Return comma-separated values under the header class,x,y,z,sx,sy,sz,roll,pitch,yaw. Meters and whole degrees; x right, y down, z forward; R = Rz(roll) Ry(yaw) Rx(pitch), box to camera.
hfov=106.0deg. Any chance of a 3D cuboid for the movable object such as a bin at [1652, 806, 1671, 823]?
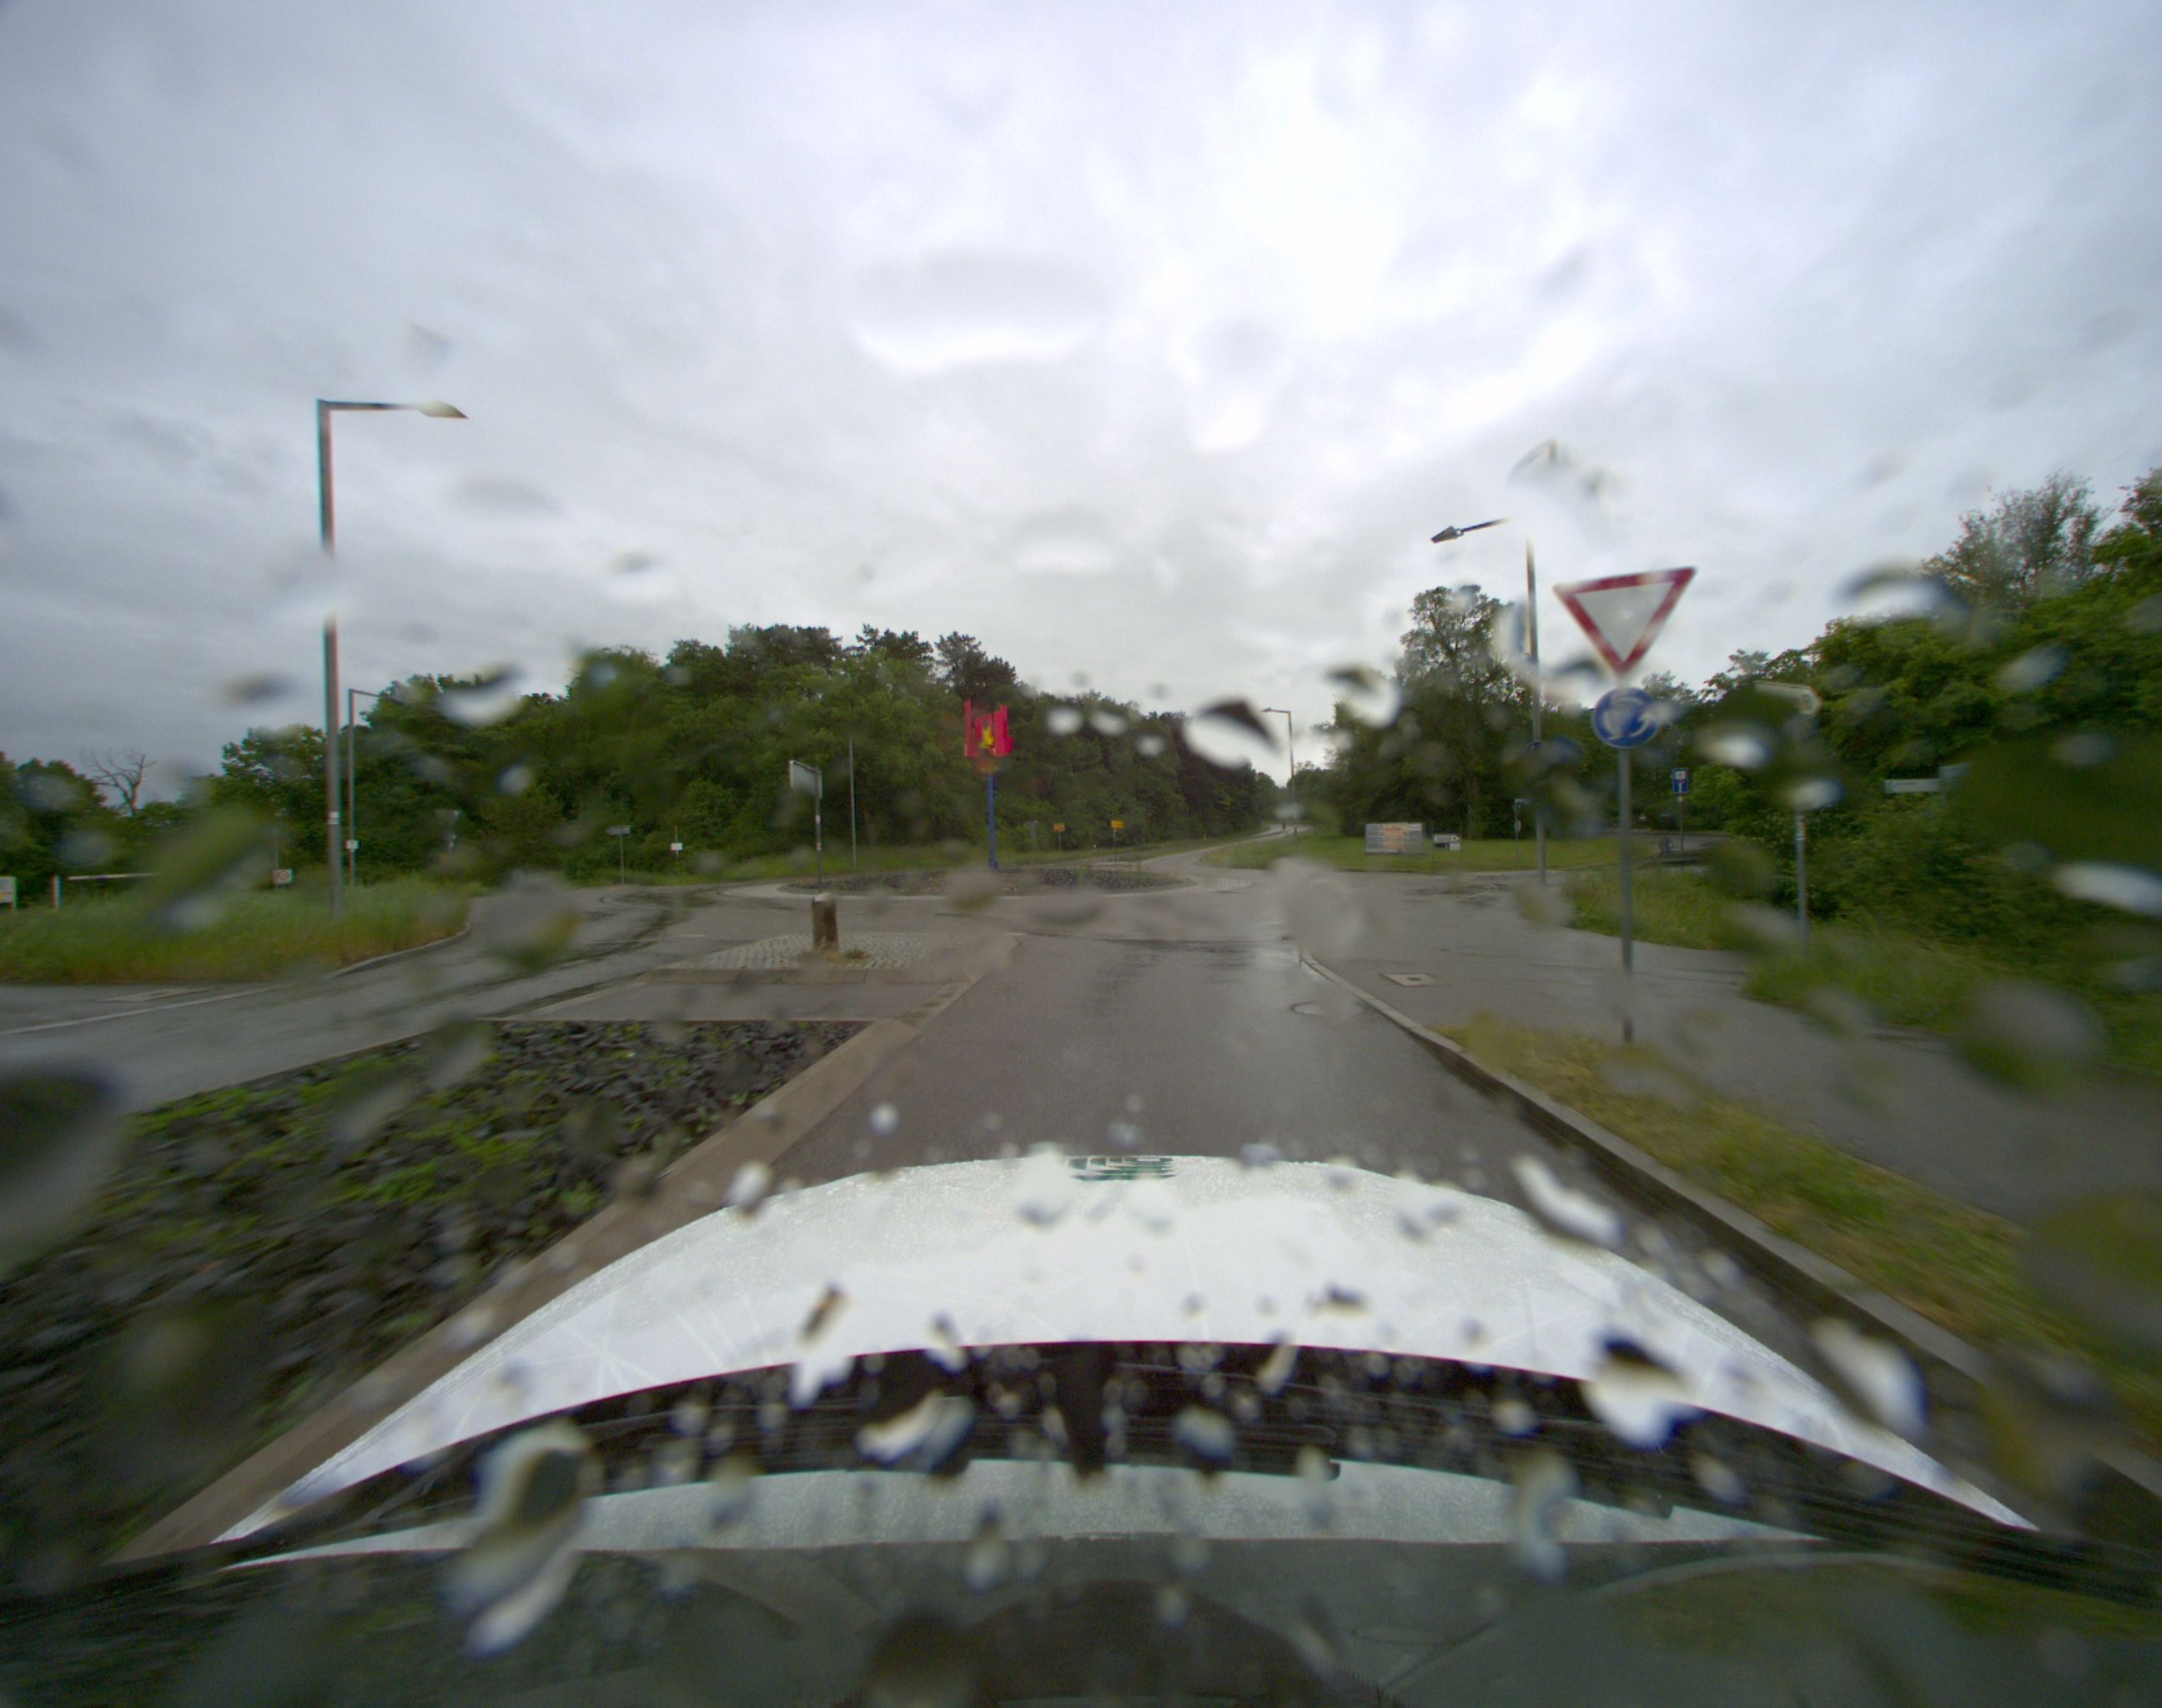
class,x,y,z,sx,sy,sz,roll,pitch,yaw
movable object such as a bin,53.136,-3.610,74.510,1.183,1.437,1.437,-1,1,26
